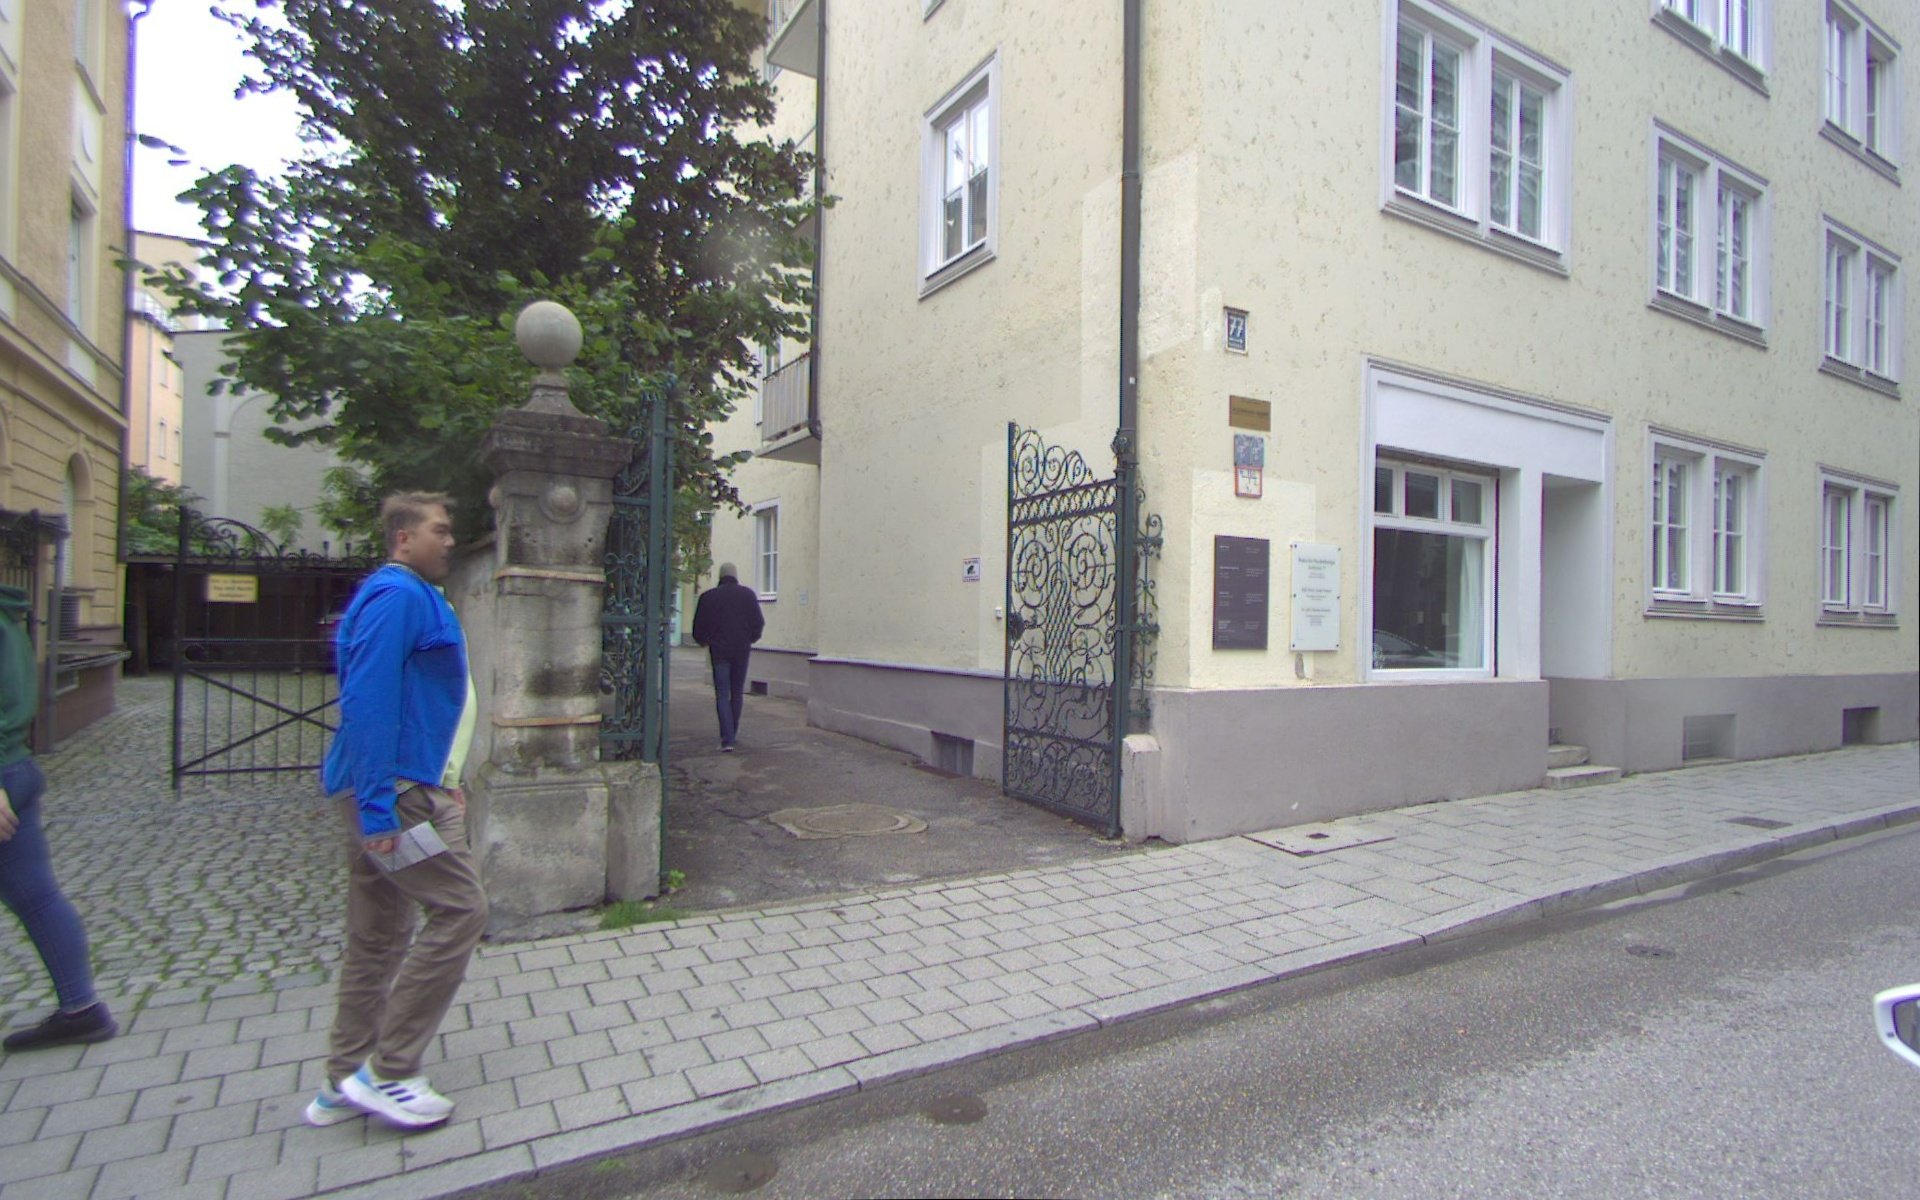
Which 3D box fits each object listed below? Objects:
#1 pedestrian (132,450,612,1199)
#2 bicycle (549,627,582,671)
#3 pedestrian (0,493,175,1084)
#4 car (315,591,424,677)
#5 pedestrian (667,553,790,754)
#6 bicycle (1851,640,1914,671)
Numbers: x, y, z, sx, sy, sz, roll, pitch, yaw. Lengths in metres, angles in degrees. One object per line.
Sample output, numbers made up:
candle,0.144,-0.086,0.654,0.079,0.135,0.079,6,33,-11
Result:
pedestrian,-1.694,0.592,3.006,1.064,1.879,0.753,2,0,-31
bicycle,-9.407,1.141,23.971,0.689,0.985,1.879,1,-1,-22
pedestrian,-3.051,0.525,3.064,0.919,1.688,0.709,1,2,-31
car,-12.452,0.655,21.369,1.612,1.561,3.708,2,1,-25
pedestrian,-2.292,0.510,9.906,0.898,1.851,0.948,1,-1,-31
bicycle,35.037,2.099,38.164,0.590,1.083,1.650,1,0,-26
